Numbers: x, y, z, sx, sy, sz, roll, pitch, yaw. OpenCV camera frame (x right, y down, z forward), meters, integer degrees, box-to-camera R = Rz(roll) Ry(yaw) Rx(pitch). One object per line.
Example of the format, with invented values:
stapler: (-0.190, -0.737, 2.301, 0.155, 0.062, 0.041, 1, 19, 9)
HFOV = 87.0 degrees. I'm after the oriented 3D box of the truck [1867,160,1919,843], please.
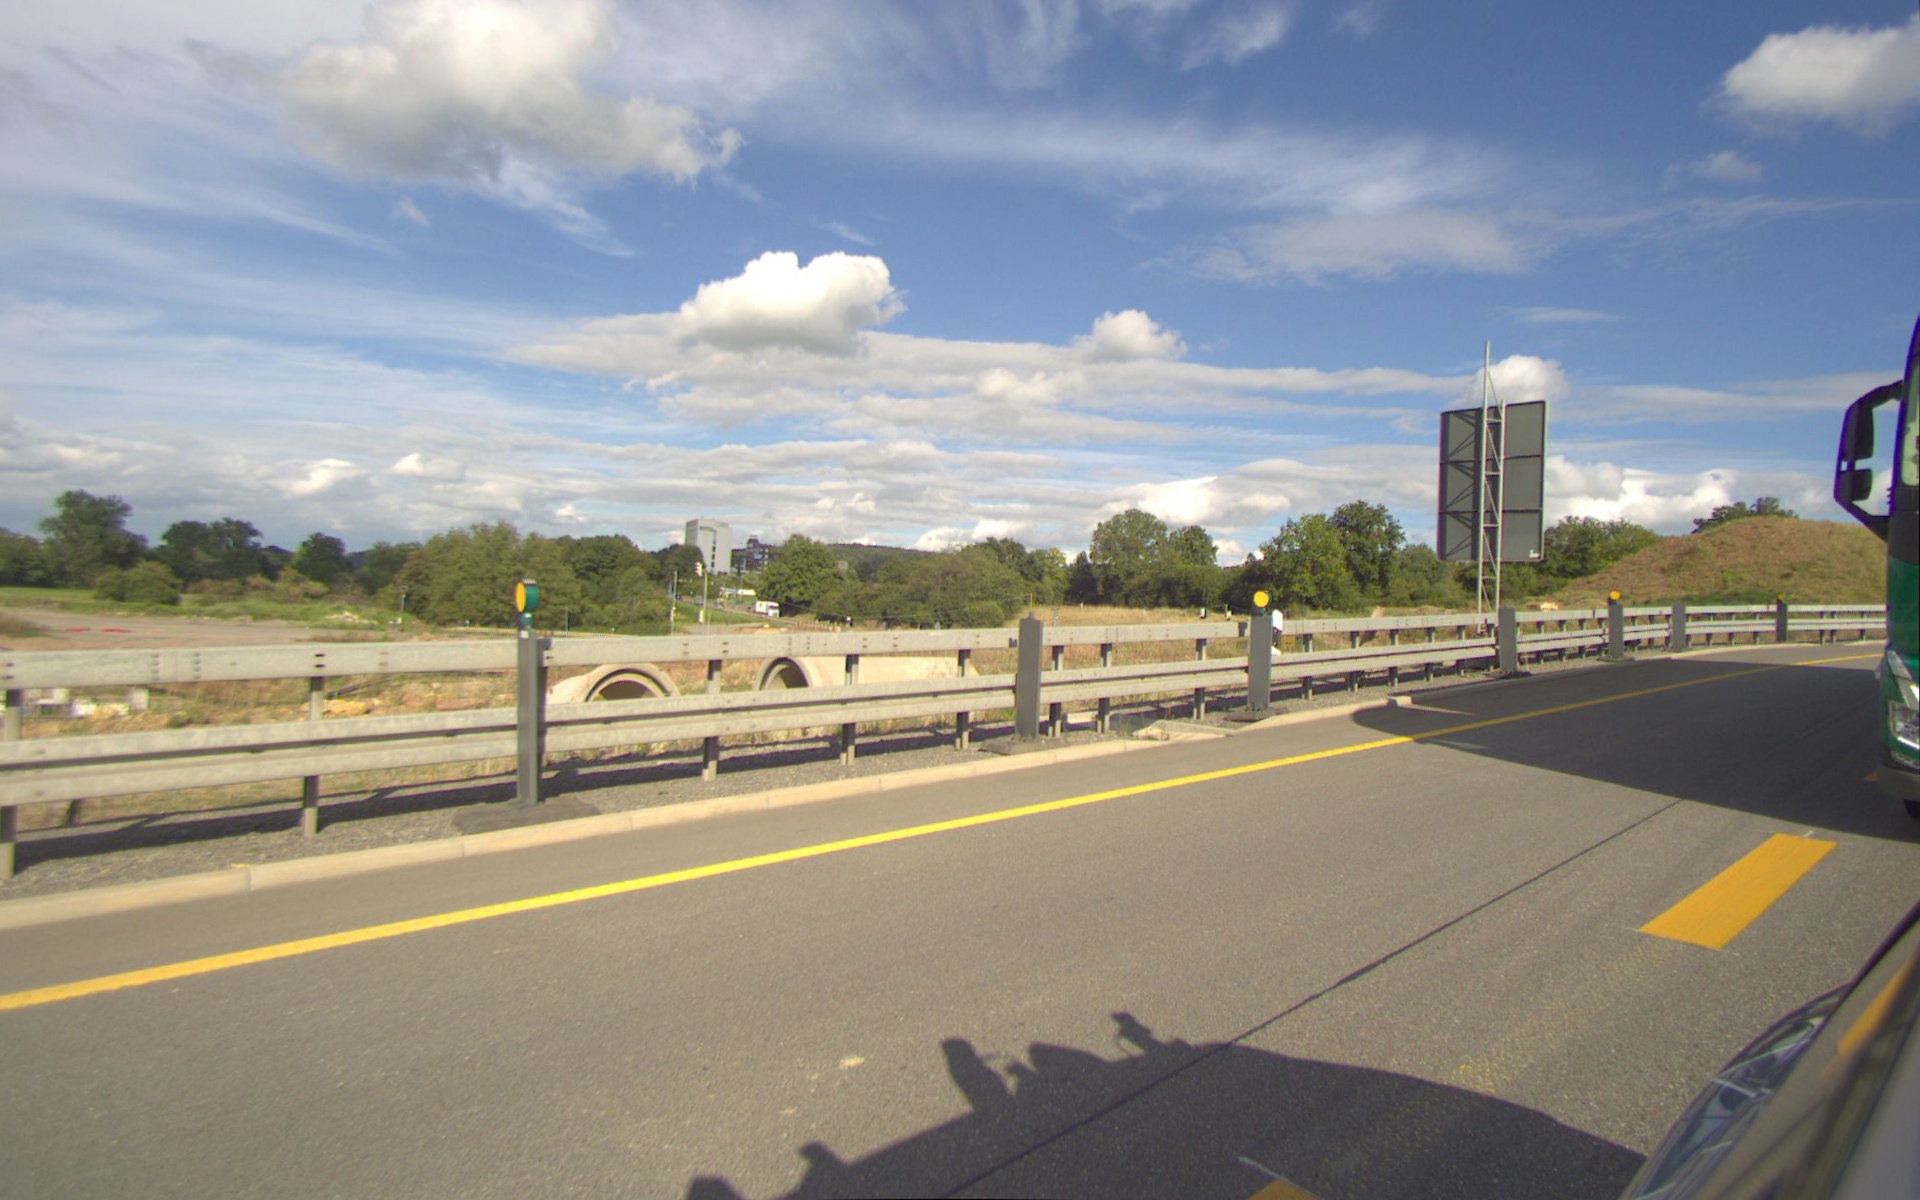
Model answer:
truck: (10.025, -0.683, 8.258, 10.139, 3.895, 2.661, -2, 1, -41)
